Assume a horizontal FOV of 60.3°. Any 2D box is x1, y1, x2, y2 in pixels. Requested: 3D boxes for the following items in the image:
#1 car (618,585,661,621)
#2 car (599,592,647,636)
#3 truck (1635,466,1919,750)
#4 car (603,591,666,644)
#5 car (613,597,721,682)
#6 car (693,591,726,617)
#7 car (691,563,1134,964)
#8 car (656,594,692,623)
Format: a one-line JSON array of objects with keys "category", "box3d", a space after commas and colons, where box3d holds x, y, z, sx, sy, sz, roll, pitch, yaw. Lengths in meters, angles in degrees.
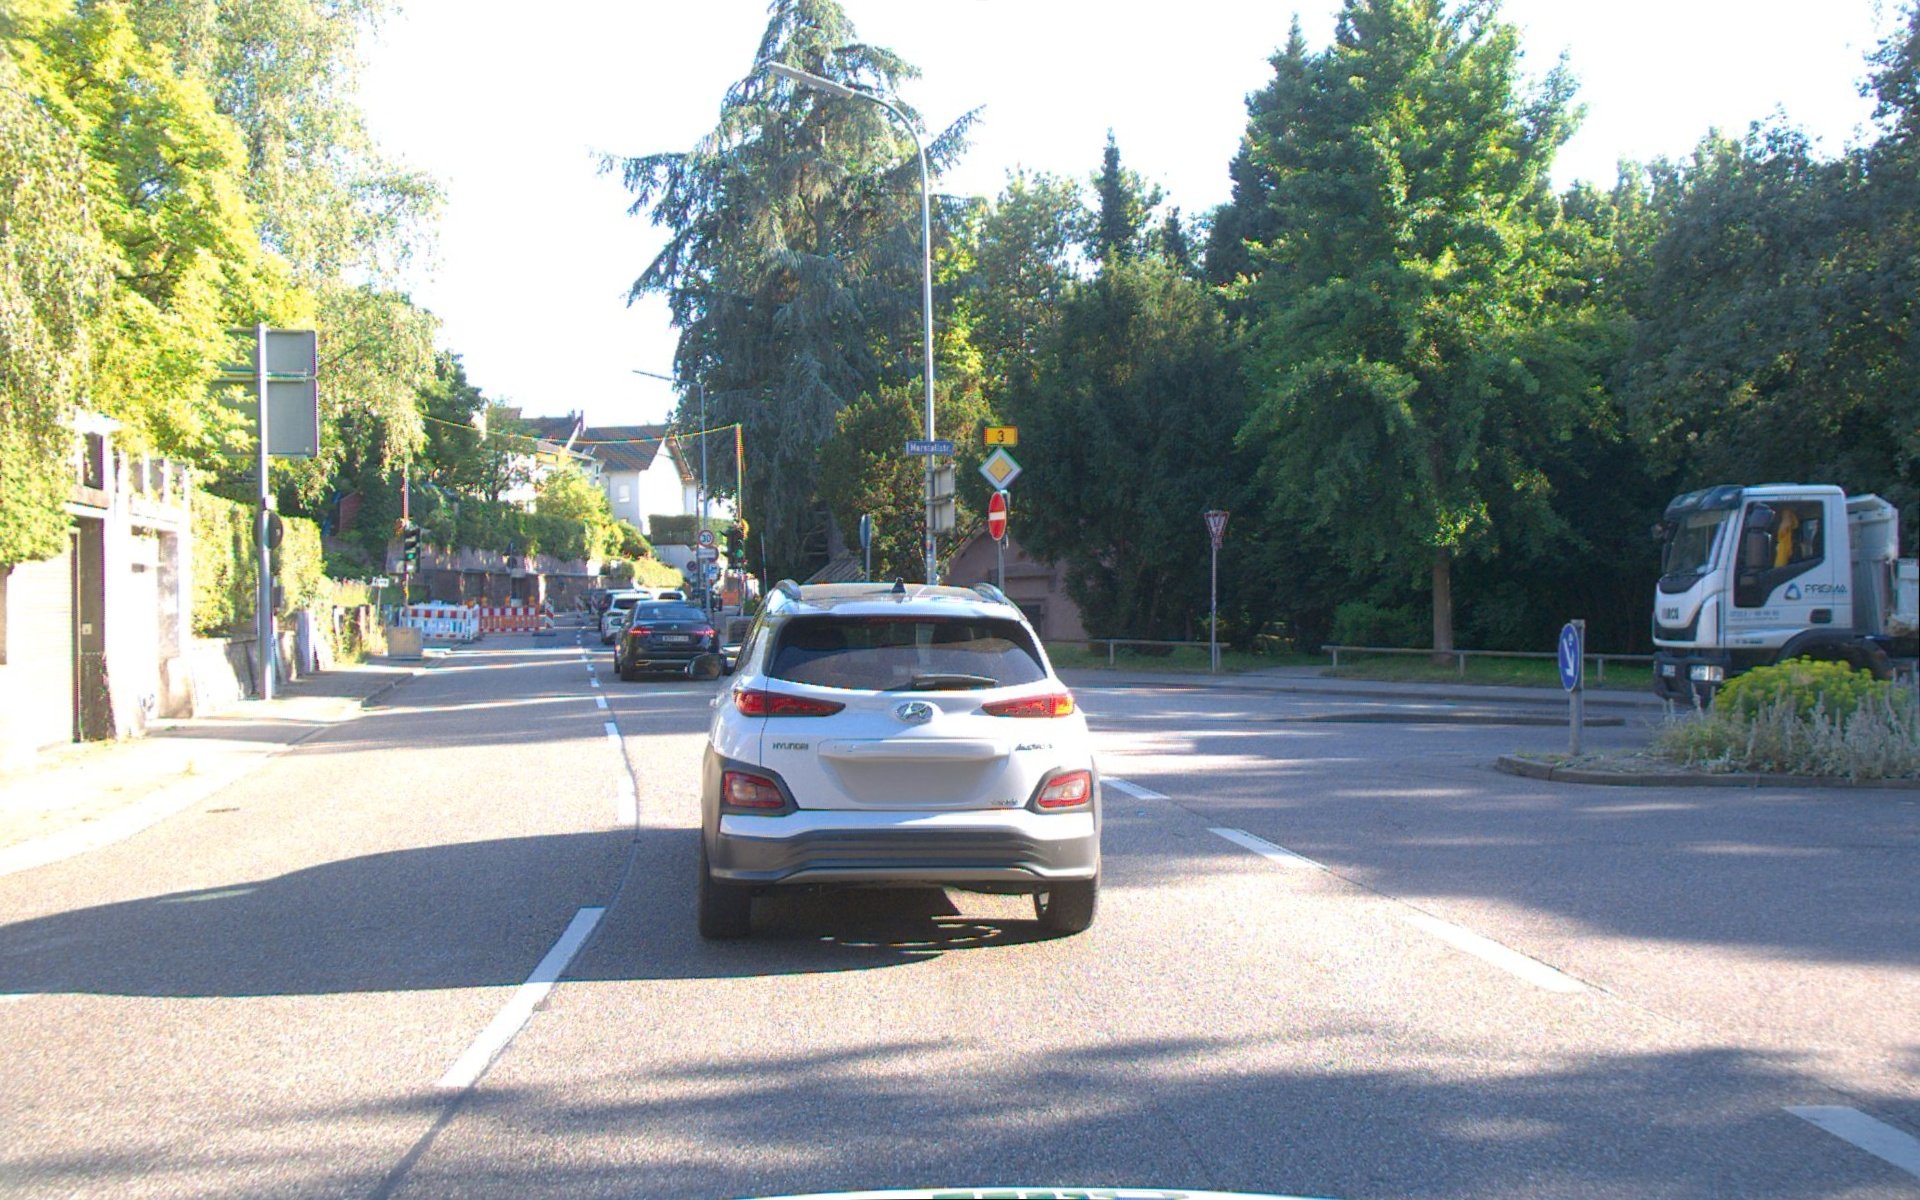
[{"category": "car", "box3d": [-16.442, 0.153, 85.021, 1.796, 1.771, 3.995, 1, 0, -6]}, {"category": "car", "box3d": [-13.611, 0.524, 66.921, 1.799, 1.691, 3.990, 1, 0, -11]}, {"category": "truck", "box3d": [11.170, 0.102, 18.270, 6.446, 2.945, 2.435, 1, 0, 9]}, {"category": "car", "box3d": [-10.226, 0.527, 51.751, 1.775, 1.564, 3.986, 1, 0, -13]}, {"category": "car", "box3d": [-5.611, 0.704, 31.329, 1.679, 1.459, 4.349, 1, 0, -14]}, {"category": "car", "box3d": [-17.073, 0.242, 113.002, 1.795, 1.691, 3.998, 1, 0, -3]}, {"category": "car", "box3d": [-0.434, 0.652, 8.704, 1.786, 1.601, 3.993, 1, 0, -8]}, {"category": "car", "box3d": [-17.068, 0.504, 98.868, 1.796, 1.691, 3.995, 1, 0, -6]}]
